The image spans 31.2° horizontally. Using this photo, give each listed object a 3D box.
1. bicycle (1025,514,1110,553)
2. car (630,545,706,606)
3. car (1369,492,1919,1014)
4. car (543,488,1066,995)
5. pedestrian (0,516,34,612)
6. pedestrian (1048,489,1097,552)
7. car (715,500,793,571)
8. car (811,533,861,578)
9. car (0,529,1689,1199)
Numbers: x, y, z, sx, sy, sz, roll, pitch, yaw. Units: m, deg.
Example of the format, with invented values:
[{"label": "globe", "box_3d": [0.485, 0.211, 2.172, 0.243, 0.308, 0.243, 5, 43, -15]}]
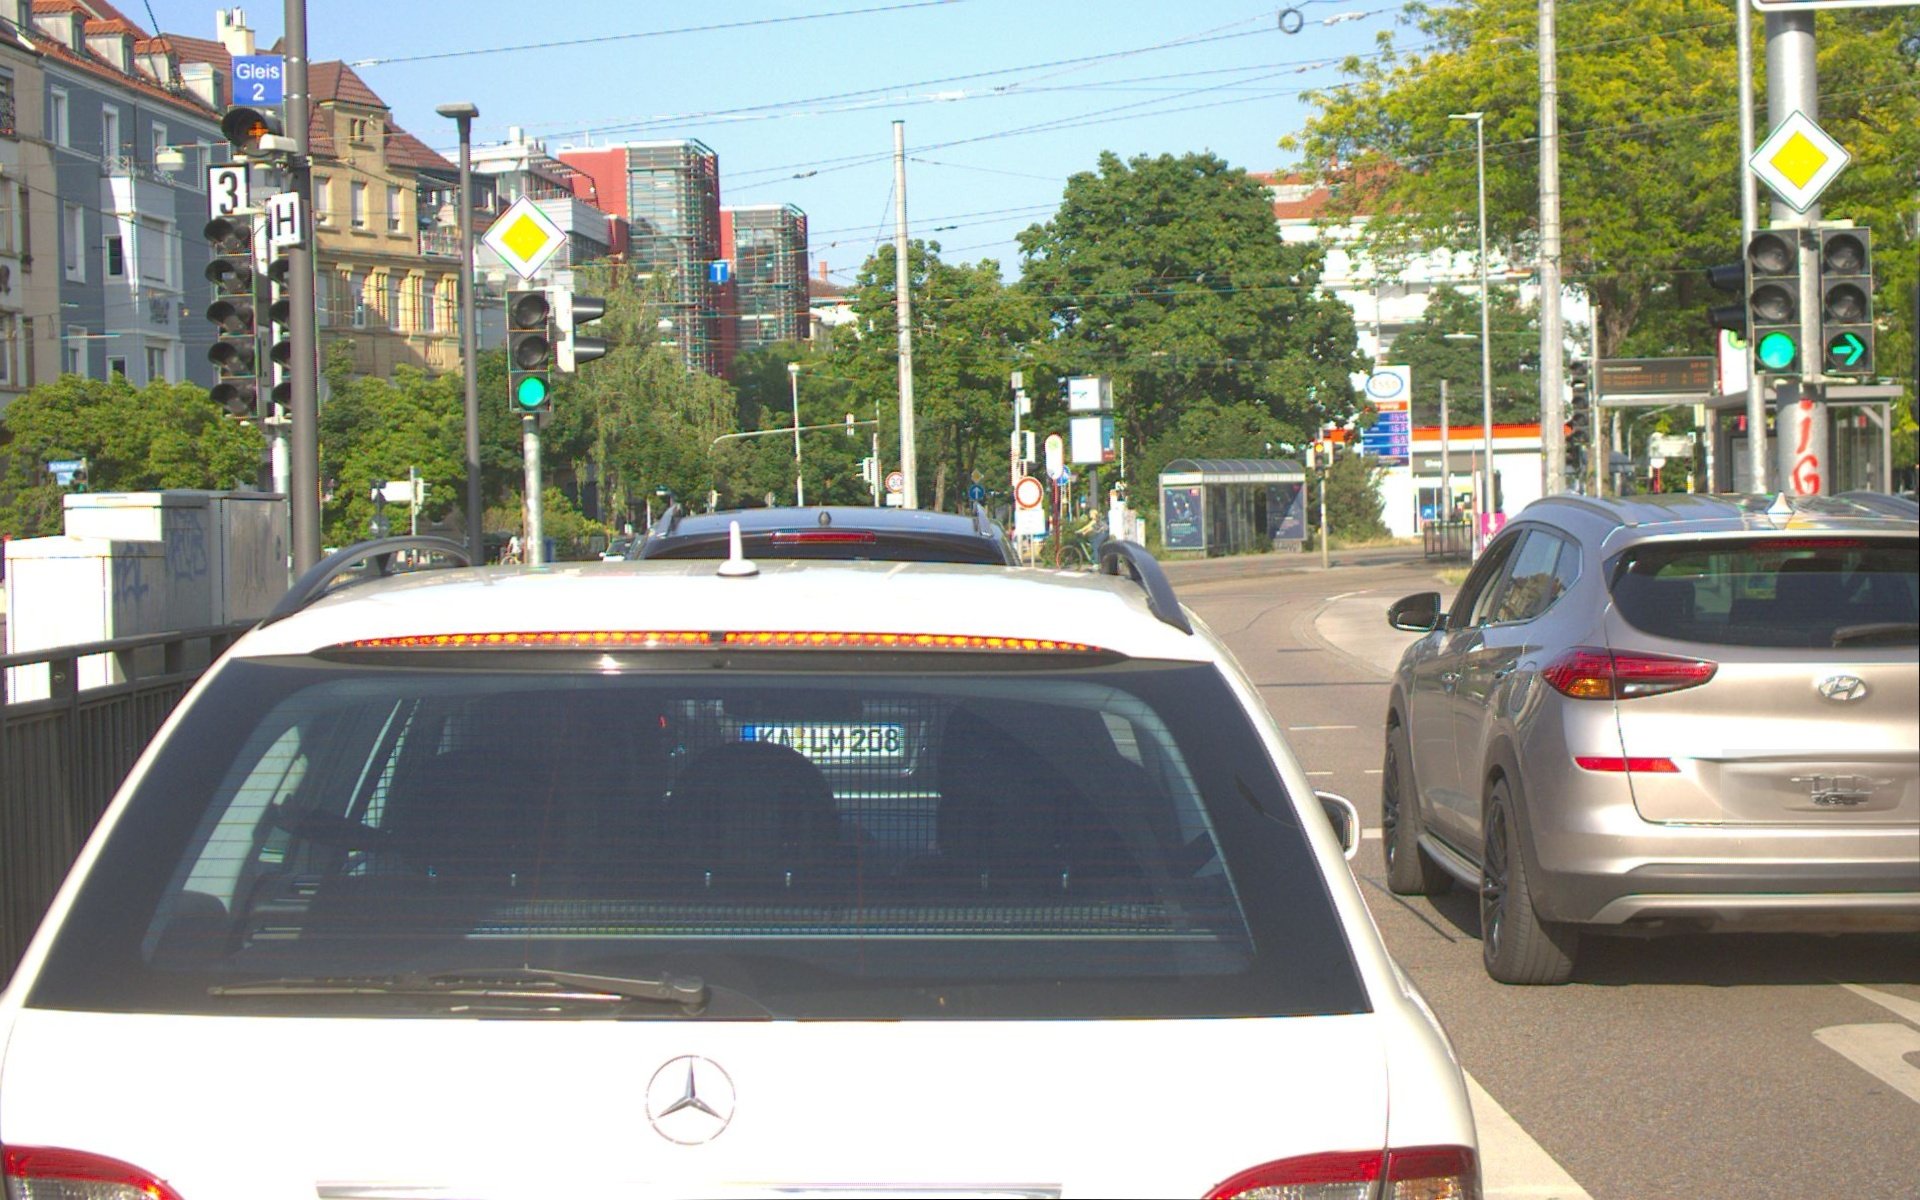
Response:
[{"label": "bicycle", "box_3d": [2.784, -1.717, 89.014, 2.019, 0.943, 0.878, -1, 1, 19]}, {"label": "car", "box_3d": [-8.130, -0.703, 95.989, 1.676, 1.520, 4.125, -2, 2, 0]}, {"label": "car", "box_3d": [2.641, 0.426, 12.394, 1.835, 1.594, 3.815, 0, 1, -1]}, {"label": "car", "box_3d": [-0.512, 0.405, 12.711, 1.641, 1.594, 3.815, 0, 1, -1]}, {"label": "pedestrian", "box_3d": [-18.819, -0.715, 68.412, 0.584, 1.874, 0.627, -2, 3, -3]}, {"label": "pedestrian", "box_3d": [2.908, -2.066, 88.941, 1.007, 1.586, 0.865, -1, 1, 19]}, {"label": "car", "box_3d": [-6.761, -2.163, 113.310, 2.177, 2.231, 5.253, -2, 2, 0]}, {"label": "car", "box_3d": [-4.710, -1.705, 130.795, 1.767, 1.489, 4.745, -2, 3, -1]}, {"label": "car", "box_3d": [-0.270, 0.648, 5.073, 1.835, 1.496, 3.815, 0, 1, -1]}]
